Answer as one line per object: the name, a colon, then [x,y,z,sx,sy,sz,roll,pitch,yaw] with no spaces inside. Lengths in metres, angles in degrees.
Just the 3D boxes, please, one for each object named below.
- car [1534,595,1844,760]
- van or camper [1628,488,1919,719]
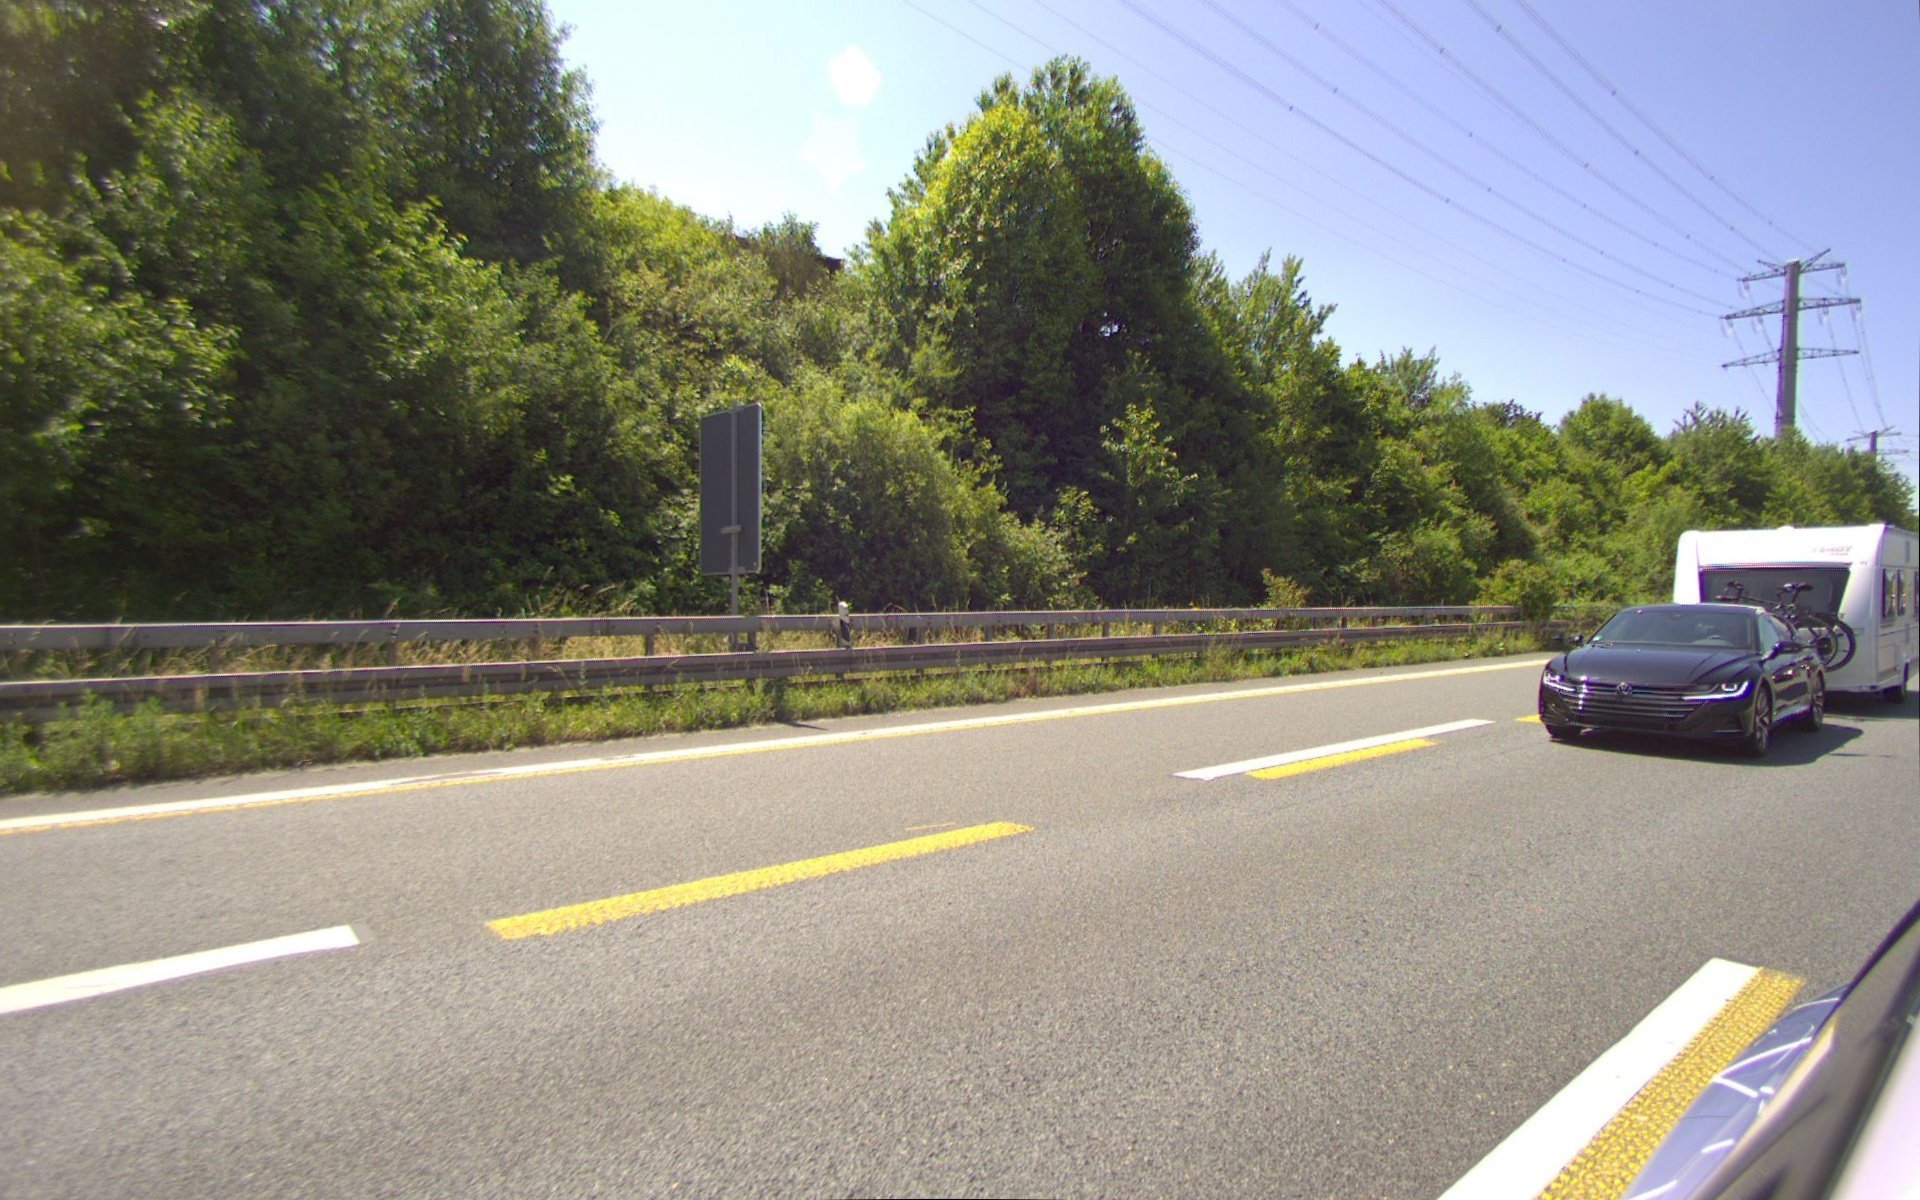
car: [7.932,0.664,10.867,4.136,1.425,1.799,0,1,-41]
van or camper: [12.657,0.012,15.024,8.270,2.597,2.430,0,0,-41]
